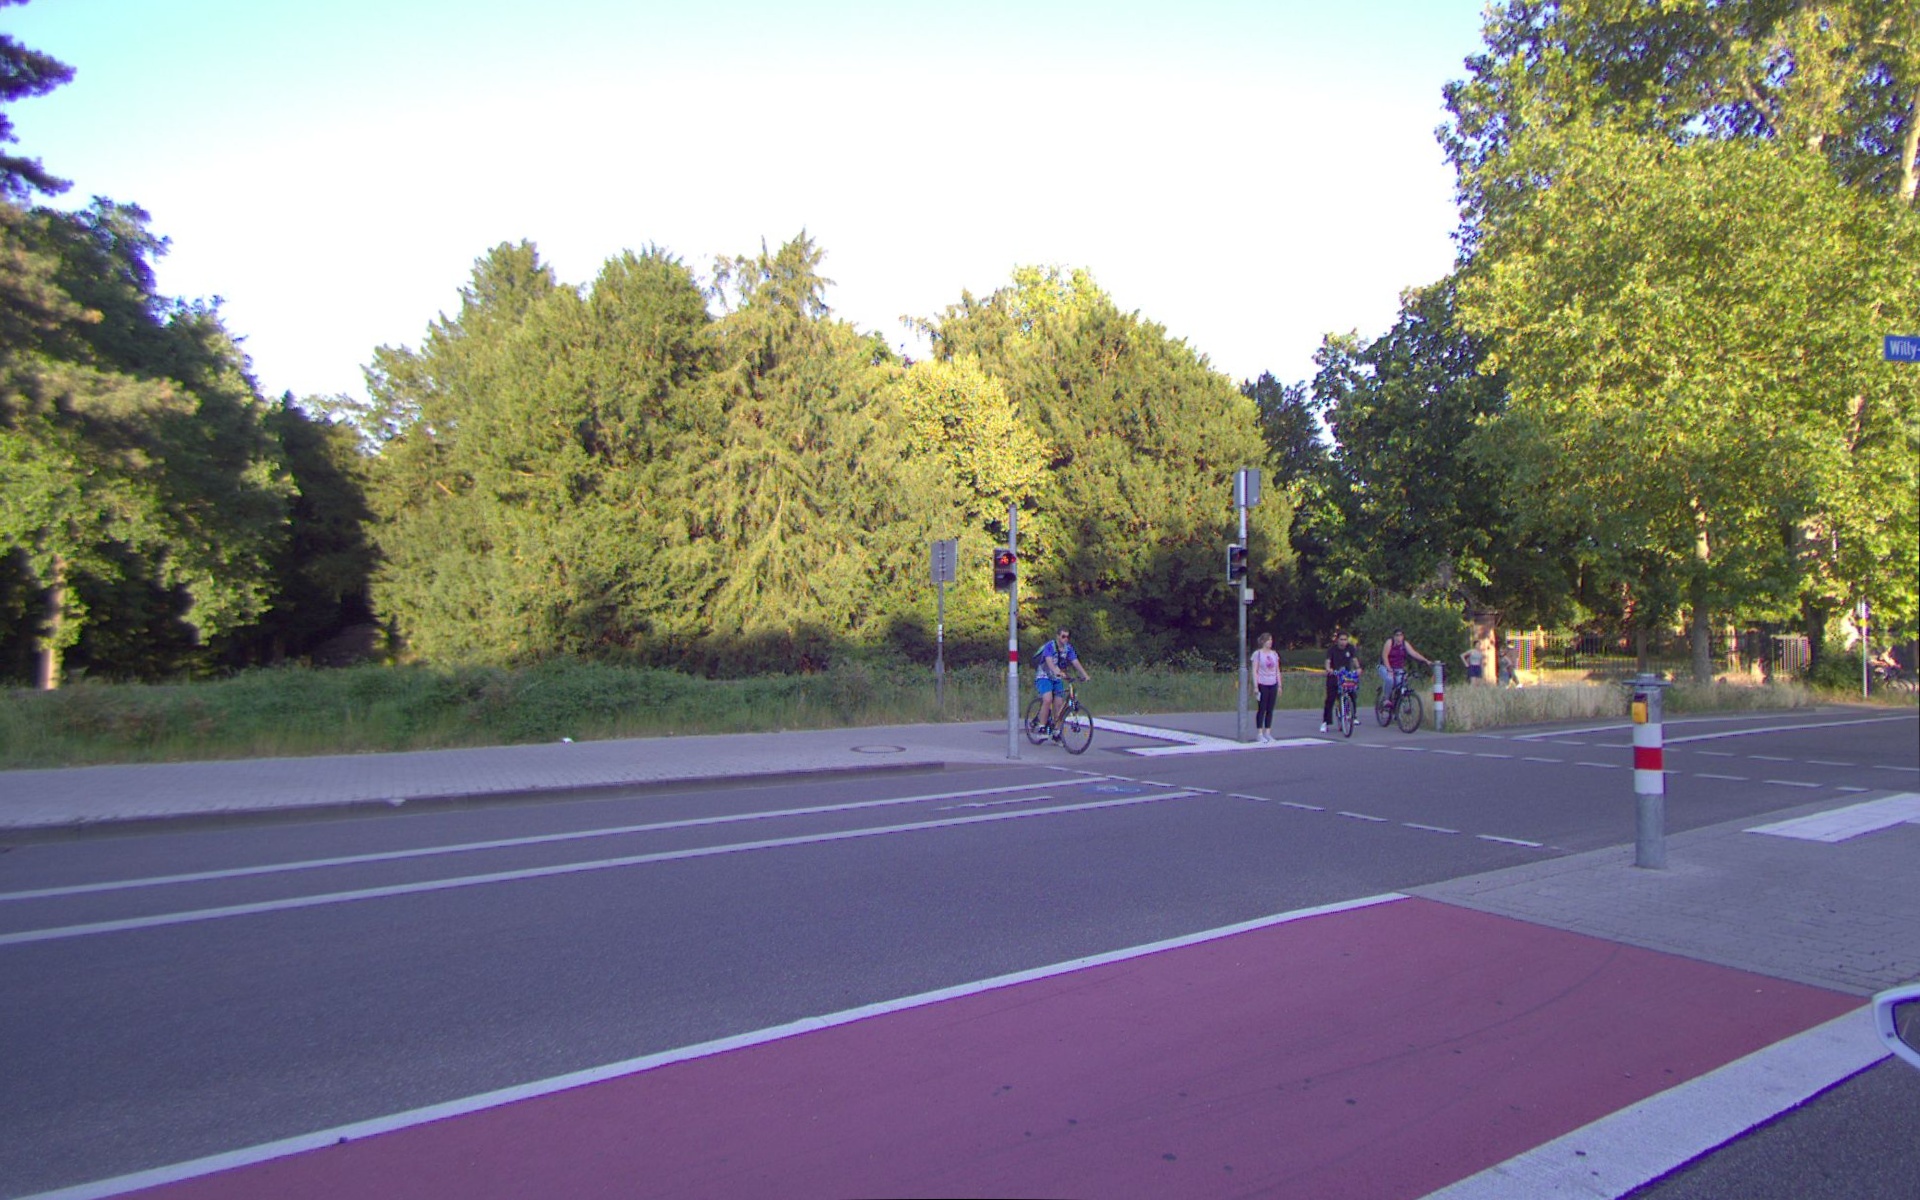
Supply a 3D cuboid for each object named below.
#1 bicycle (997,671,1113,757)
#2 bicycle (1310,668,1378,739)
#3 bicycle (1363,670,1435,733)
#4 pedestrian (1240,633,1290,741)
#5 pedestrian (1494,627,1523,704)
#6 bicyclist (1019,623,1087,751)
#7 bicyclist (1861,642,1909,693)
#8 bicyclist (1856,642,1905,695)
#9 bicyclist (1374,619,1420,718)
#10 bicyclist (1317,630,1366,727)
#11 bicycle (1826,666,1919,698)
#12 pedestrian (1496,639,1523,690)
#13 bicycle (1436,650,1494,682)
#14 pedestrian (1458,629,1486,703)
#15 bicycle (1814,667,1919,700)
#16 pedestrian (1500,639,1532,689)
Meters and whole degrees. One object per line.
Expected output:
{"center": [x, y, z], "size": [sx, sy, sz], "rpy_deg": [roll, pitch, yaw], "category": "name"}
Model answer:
{"center": [1.373, 1.648, 14.976], "size": [0.762, 1.115, 2.109], "rpy_deg": [1, -2, -25], "category": "bicycle"}
{"center": [6.679, 1.777, 17.555], "size": [0.620, 1.126, 1.569], "rpy_deg": [0, -2, 1], "category": "bicycle"}
{"center": [8.051, 1.845, 18.493], "size": [0.568, 1.043, 1.772], "rpy_deg": [0, -2, 1], "category": "bicycle"}
{"center": [4.974, 1.404, 16.396], "size": [0.492, 1.718, 0.604], "rpy_deg": [1, -2, -28], "category": "pedestrian"}
{"center": [14.766, 1.750, 27.031], "size": [0.584, 2.040, 0.642], "rpy_deg": [0, -1, 20], "category": "pedestrian"}
{"center": [1.395, 1.277, 15.087], "size": [0.729, 1.848, 0.705], "rpy_deg": [1, -1, -33], "category": "bicyclist"}
{"center": [30.613, 2.205, 33.245], "size": [0.743, 1.652, 0.954], "rpy_deg": [1, -2, -29], "category": "bicyclist"}
{"center": [29.369, 2.157, 32.041], "size": [0.743, 1.652, 0.954], "rpy_deg": [1, -2, -29], "category": "bicyclist"}
{"center": [8.068, 1.252, 18.545], "size": [0.564, 1.803, 0.640], "rpy_deg": [0, -2, 1], "category": "bicyclist"}
{"center": [6.688, 1.365, 17.635], "size": [0.618, 1.671, 0.640], "rpy_deg": [0, -2, 1], "category": "bicyclist"}
{"center": [30.491, 2.707, 33.413], "size": [0.765, 0.936, 2.420], "rpy_deg": [1, -2, -29], "category": "bicycle"}
{"center": [21.963, 2.566, 40.142], "size": [0.691, 2.040, 0.638], "rpy_deg": [1, -2, -23], "category": "pedestrian"}
{"center": [18.560, 2.413, 36.990], "size": [0.728, 1.046, 2.294], "rpy_deg": [1, -1, -8], "category": "bicycle"}
{"center": [14.269, 1.825, 28.016], "size": [0.638, 2.040, 0.606], "rpy_deg": [0, -1, 22], "category": "pedestrian"}
{"center": [29.198, 2.665, 32.404], "size": [0.765, 0.936, 2.420], "rpy_deg": [1, -2, -29], "category": "bicycle"}
{"center": [22.938, 2.622, 41.434], "size": [1.067, 2.040, 0.755], "rpy_deg": [1, -1, -36], "category": "pedestrian"}
